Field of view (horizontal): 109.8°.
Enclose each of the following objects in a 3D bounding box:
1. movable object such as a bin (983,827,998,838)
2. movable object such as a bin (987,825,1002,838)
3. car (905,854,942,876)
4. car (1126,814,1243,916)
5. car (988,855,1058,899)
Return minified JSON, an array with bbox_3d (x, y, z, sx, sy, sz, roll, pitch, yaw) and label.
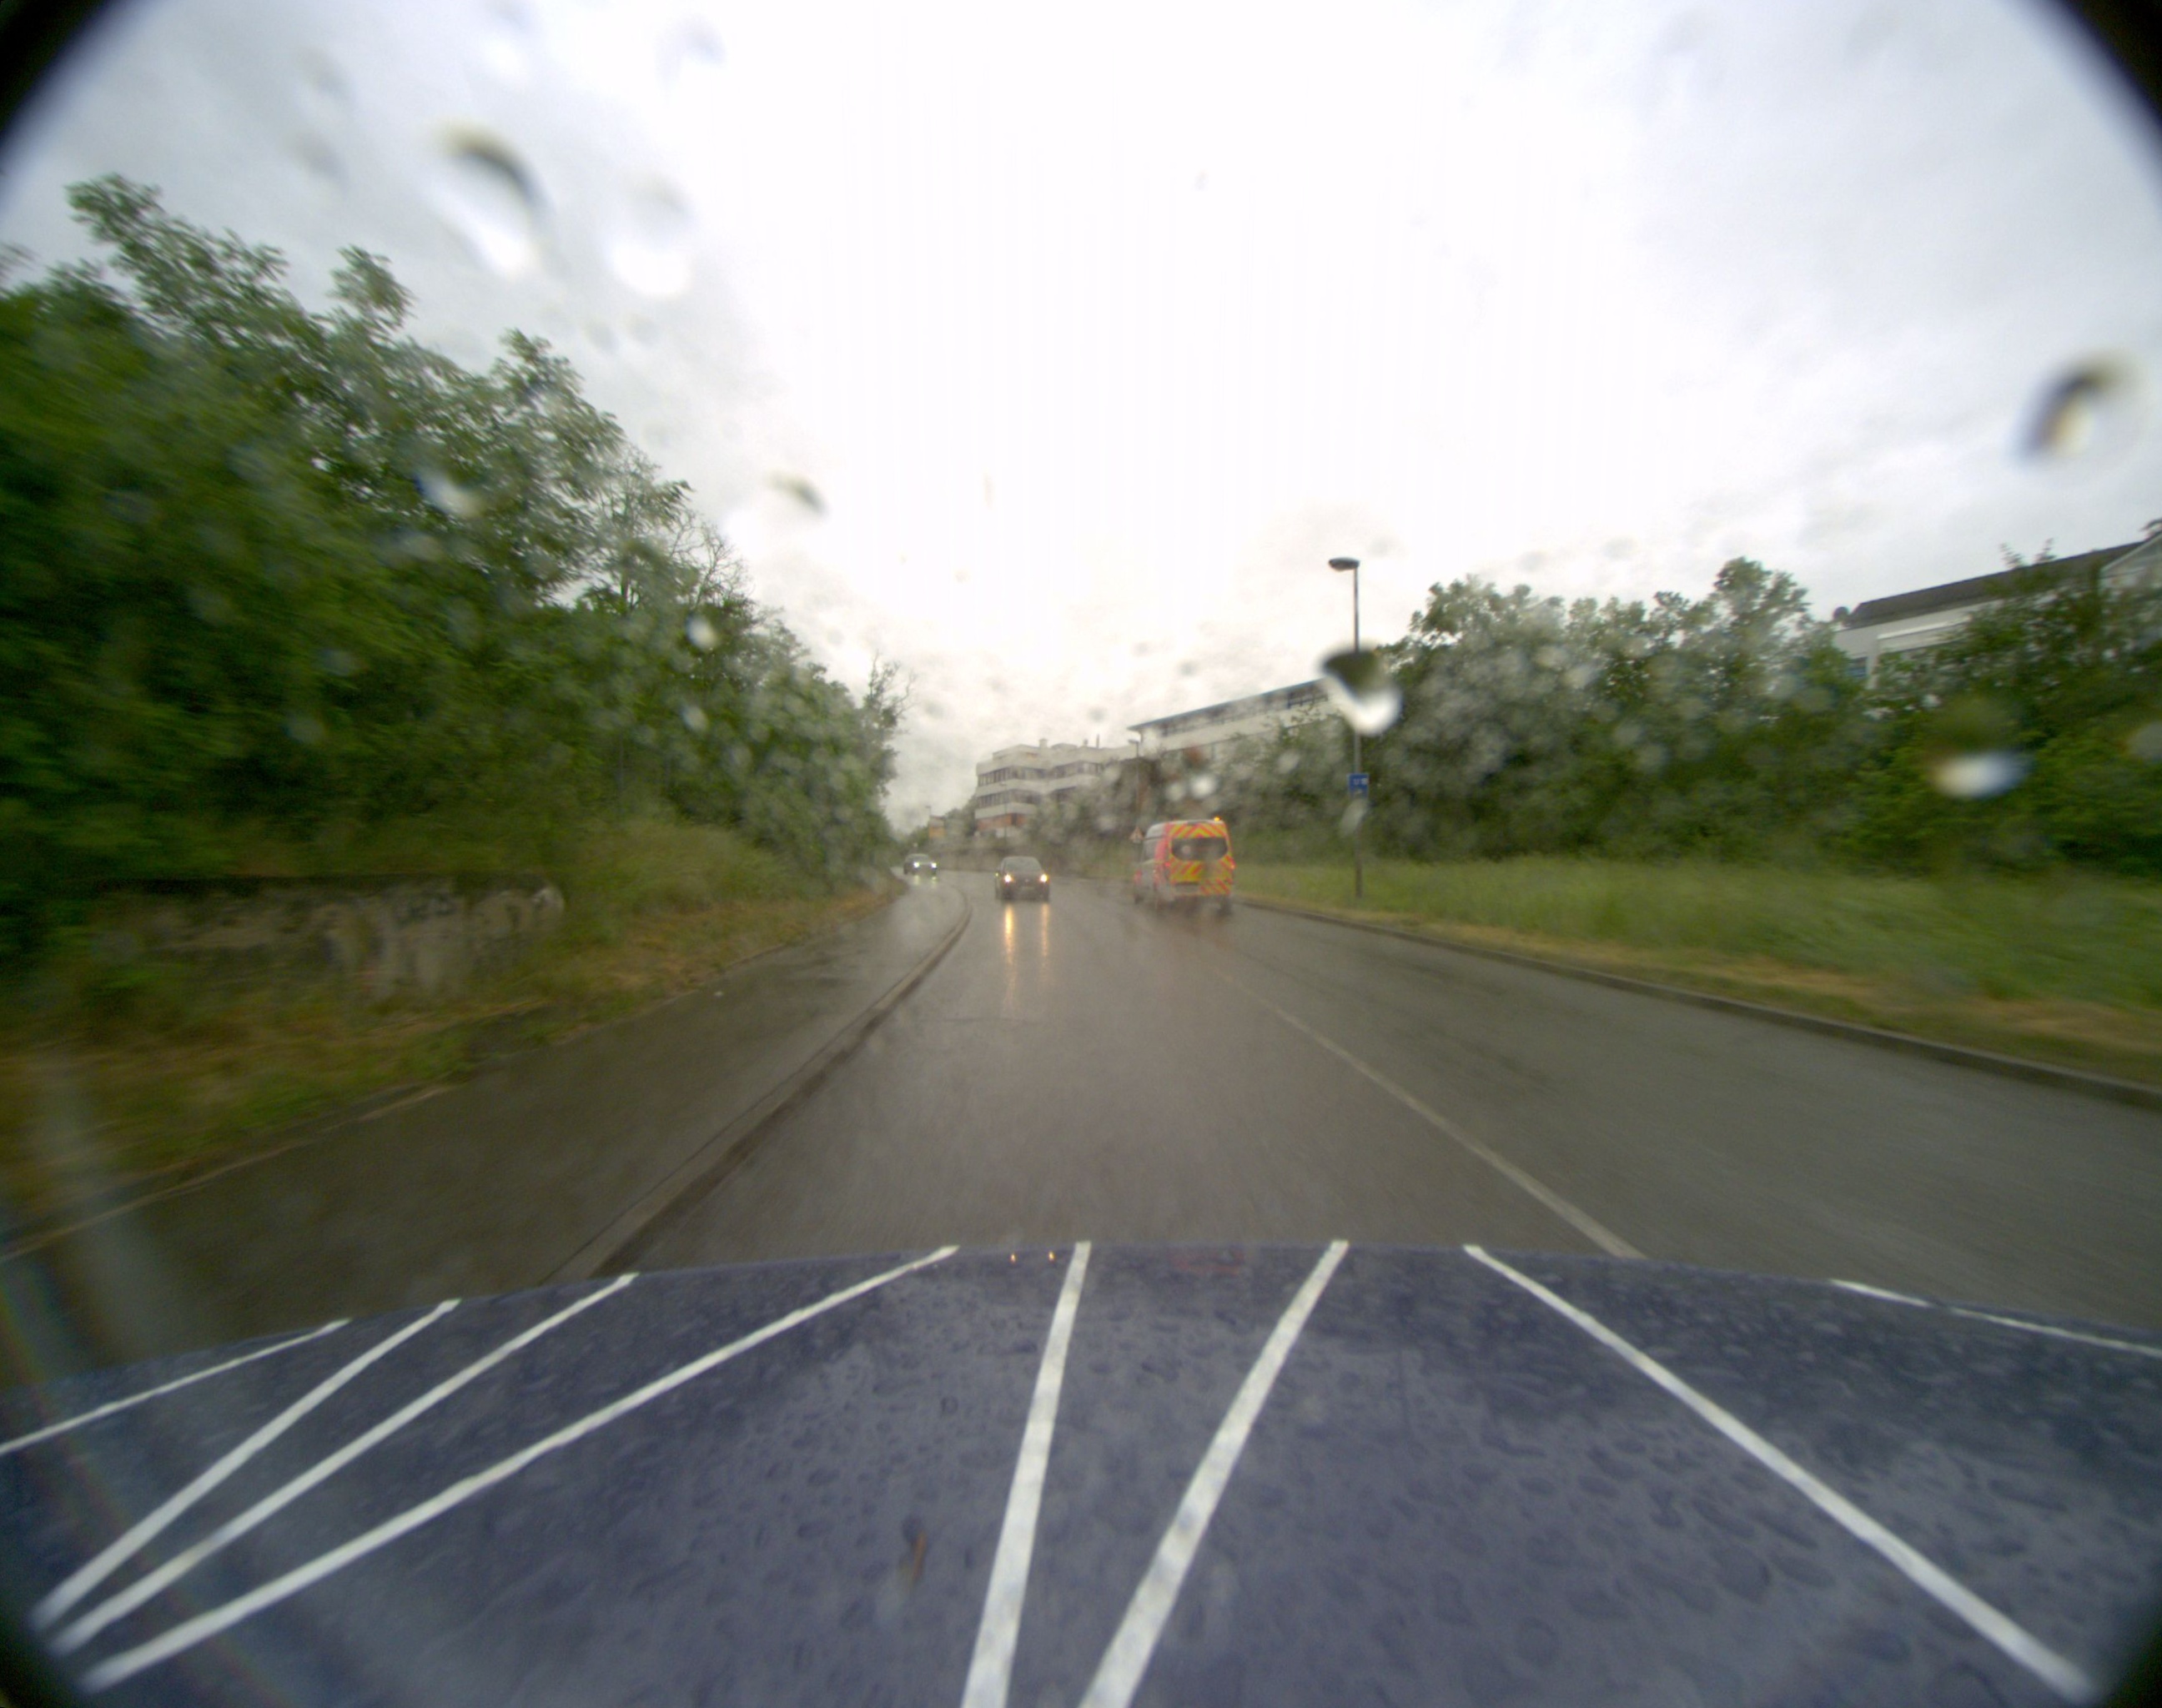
[{"bbox_3d":[-10.130,-2.385,84.612,1.247,1.204,1.339,1,0,-28],"label":"movable object such as a bin"},{"bbox_3d":[-9.458,-2.443,83.396,1.247,1.338,1.215,1,0,-27],"label":"movable object such as a bin"},{"bbox_3d":[-11.691,0.804,56.143,1.878,1.432,4.369,3,-1,-22],"label":"car"},{"bbox_3d":[2.699,0.238,21.263,2.050,2.404,5.452,-2,1,-5],"label":"car"},{"bbox_3d":[-2.214,0.804,27.926,1.876,1.432,4.373,-2,0,-13],"label":"car"}]
